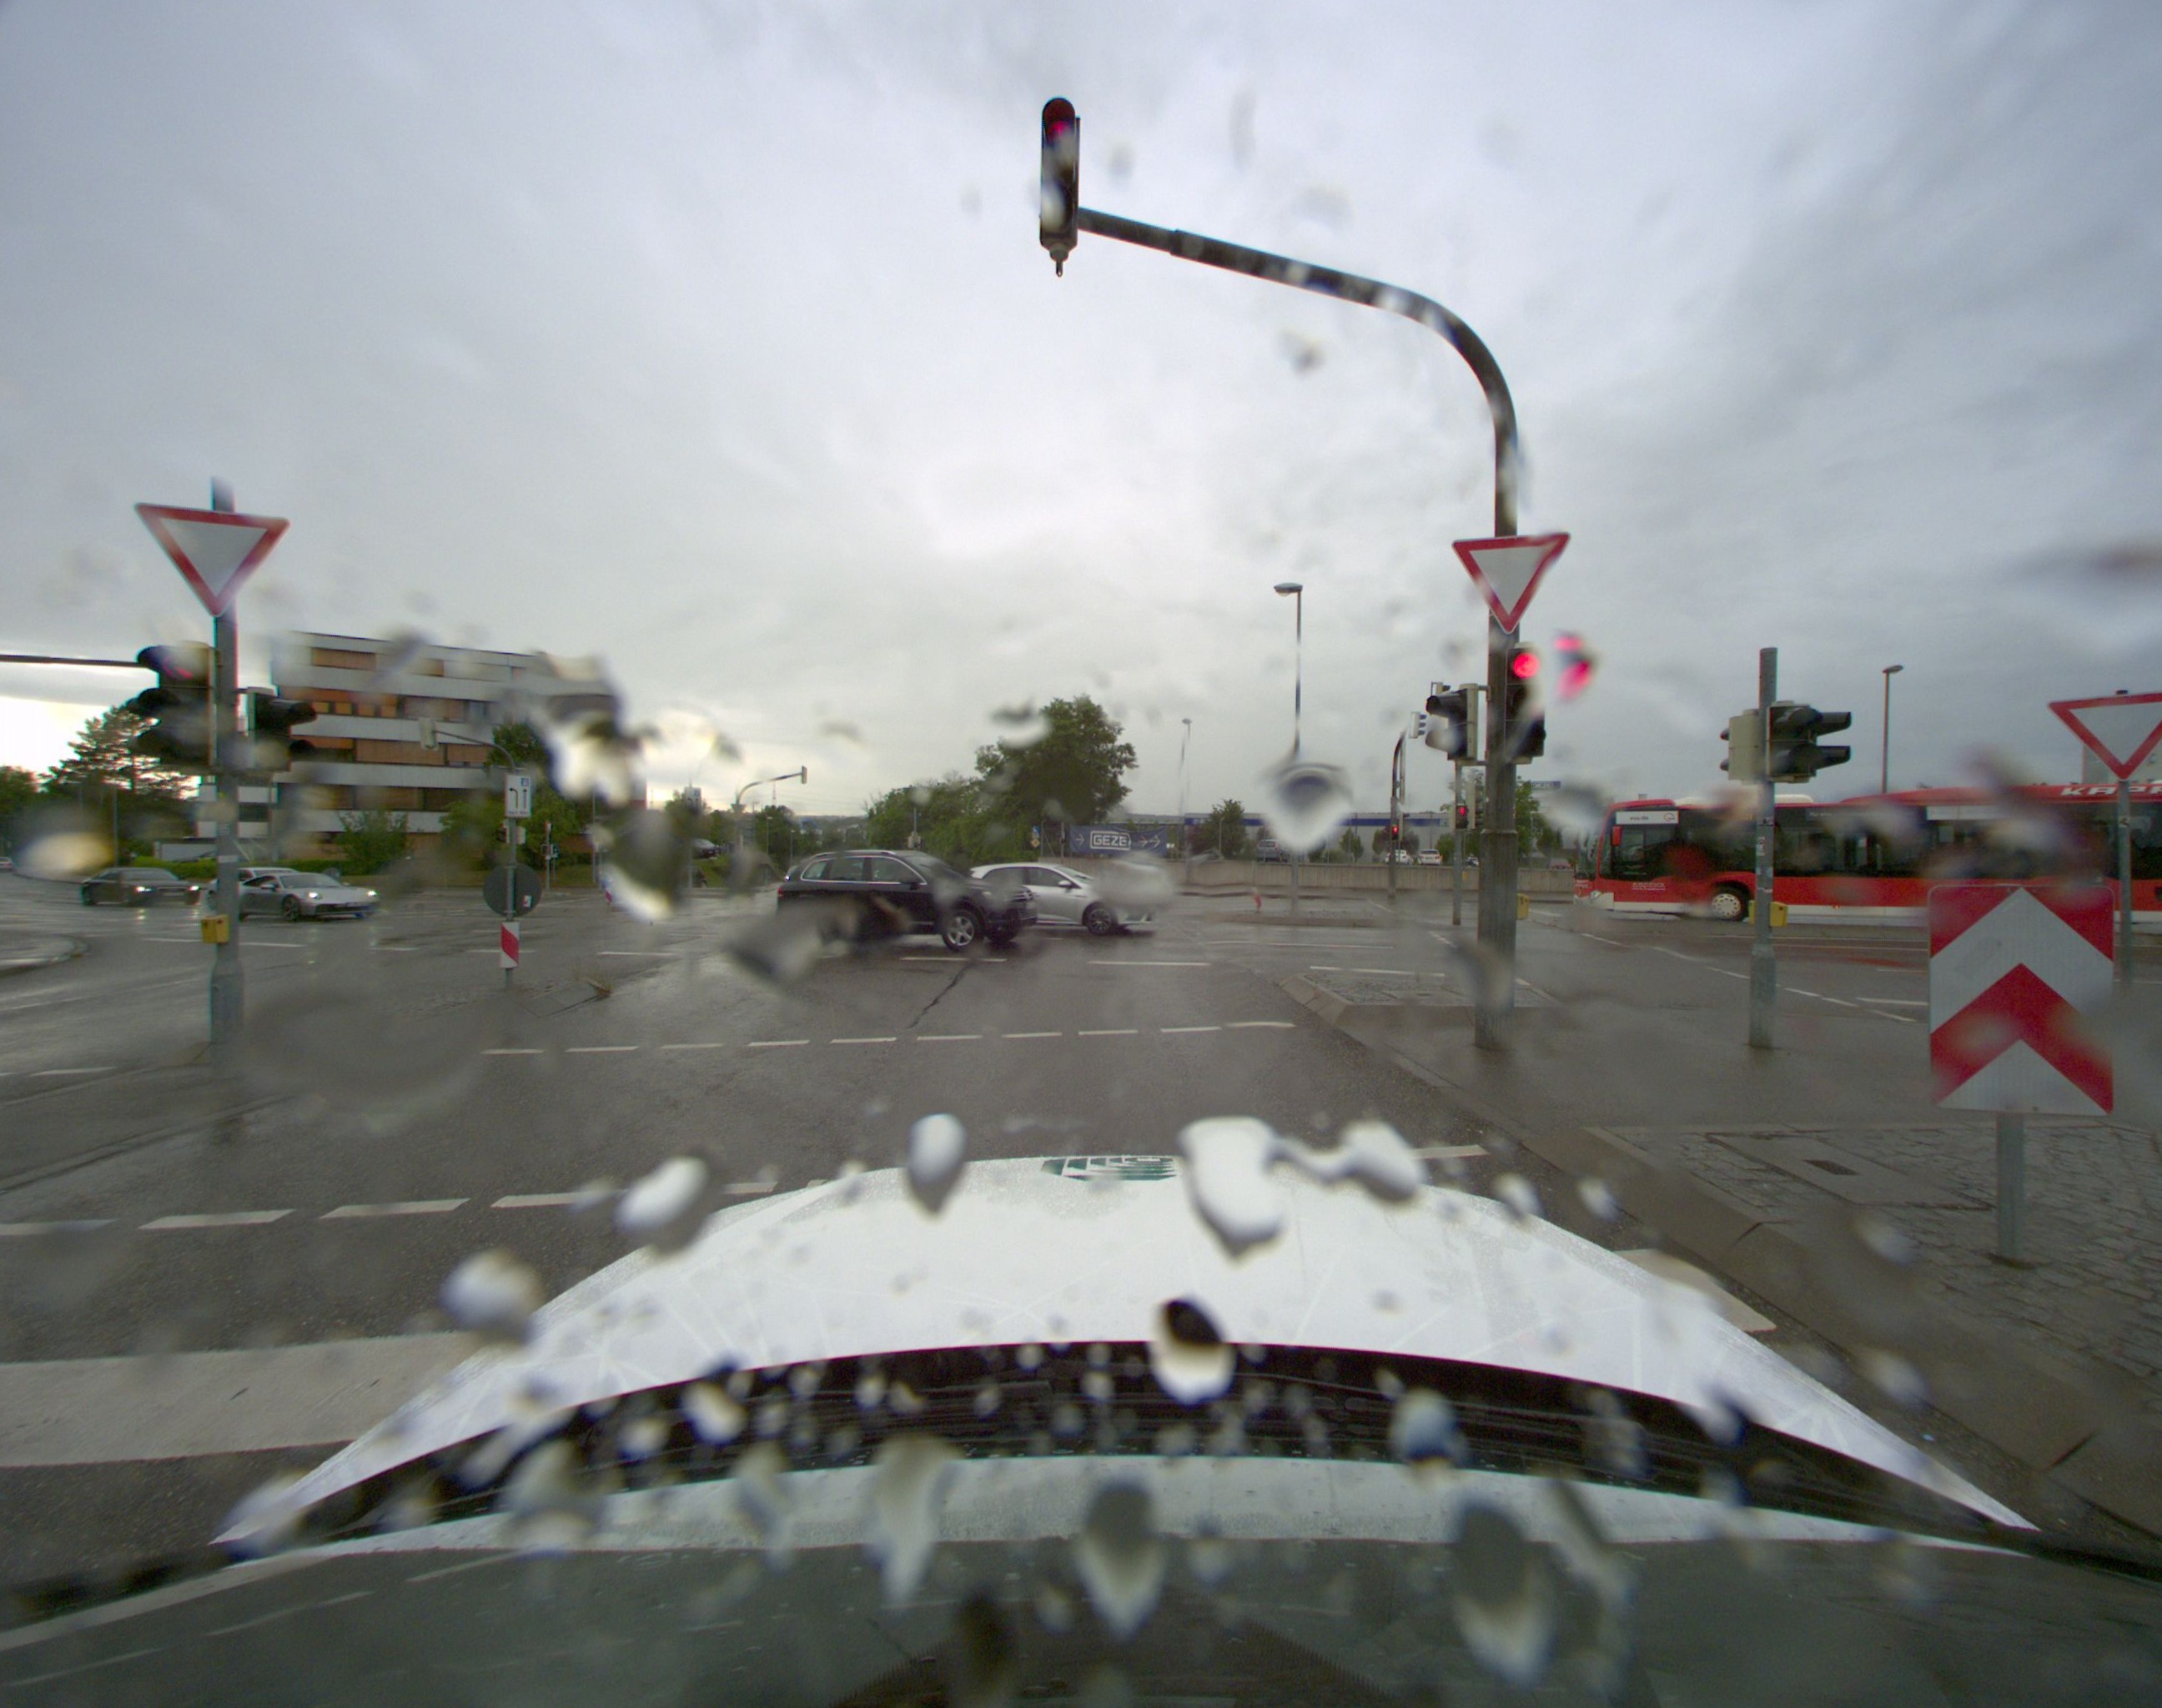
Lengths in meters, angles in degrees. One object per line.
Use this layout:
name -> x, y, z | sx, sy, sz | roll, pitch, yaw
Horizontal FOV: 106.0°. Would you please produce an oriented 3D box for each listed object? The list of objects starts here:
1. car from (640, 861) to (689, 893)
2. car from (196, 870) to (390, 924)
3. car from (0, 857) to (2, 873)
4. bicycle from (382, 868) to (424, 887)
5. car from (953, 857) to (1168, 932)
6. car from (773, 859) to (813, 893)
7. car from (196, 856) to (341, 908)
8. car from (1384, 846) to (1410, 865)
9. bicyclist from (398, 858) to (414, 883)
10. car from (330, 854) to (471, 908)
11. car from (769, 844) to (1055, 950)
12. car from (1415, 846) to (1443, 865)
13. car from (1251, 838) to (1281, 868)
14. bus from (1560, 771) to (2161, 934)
car -> -26.746, 1.424, 52.393 | 1.997, 1.895, 3.979 | 0, 0, -15
car -> -22.142, 1.164, 22.930 | 4.400, 1.358, 1.864 | 0, 0, 14
car -> -112.137, 1.119, 83.288 | 3.948, 1.596, 1.969 | 0, 0, 34
bicycle -> -39.176, 1.370, 47.060 | 1.780, 1.052, 0.606 | 0, 0, -20
car -> -0.386, 0.791, 17.180 | 4.107, 1.416, 1.936 | 0, 0, 16
car -> -17.142, 1.249, 48.669 | 1.998, 1.895, 3.978 | 0, 0, -16
car -> -28.200, 0.920, 28.302 | 3.954, 1.684, 2.010 | 0, 0, 19
car -> 26.380, 0.104, 67.852 | 1.976, 1.478, 4.021 | 0, 0, 22
bicyclist -> -39.046, 0.932, 47.109 | 0.545, 1.446, 0.599 | 0, 0, -20
car -> -24.818, 0.939, 29.732 | 4.108, 1.840, 2.009 | 0, 0, 17
car -> -2.977, 0.739, 14.635 | 4.561, 1.702, 2.009 | -1, 0, 16
car -> 28.686, 0.113, 67.173 | 1.976, 1.478, 4.021 | 0, 0, 21
car -> 13.094, -0.070, 57.551 | 1.979, 2.013, 4.015 | 0, 0, 13
bus -> 18.610, -0.118, 19.251 | 12.178, 3.321, 3.089 | 1, 0, 19
